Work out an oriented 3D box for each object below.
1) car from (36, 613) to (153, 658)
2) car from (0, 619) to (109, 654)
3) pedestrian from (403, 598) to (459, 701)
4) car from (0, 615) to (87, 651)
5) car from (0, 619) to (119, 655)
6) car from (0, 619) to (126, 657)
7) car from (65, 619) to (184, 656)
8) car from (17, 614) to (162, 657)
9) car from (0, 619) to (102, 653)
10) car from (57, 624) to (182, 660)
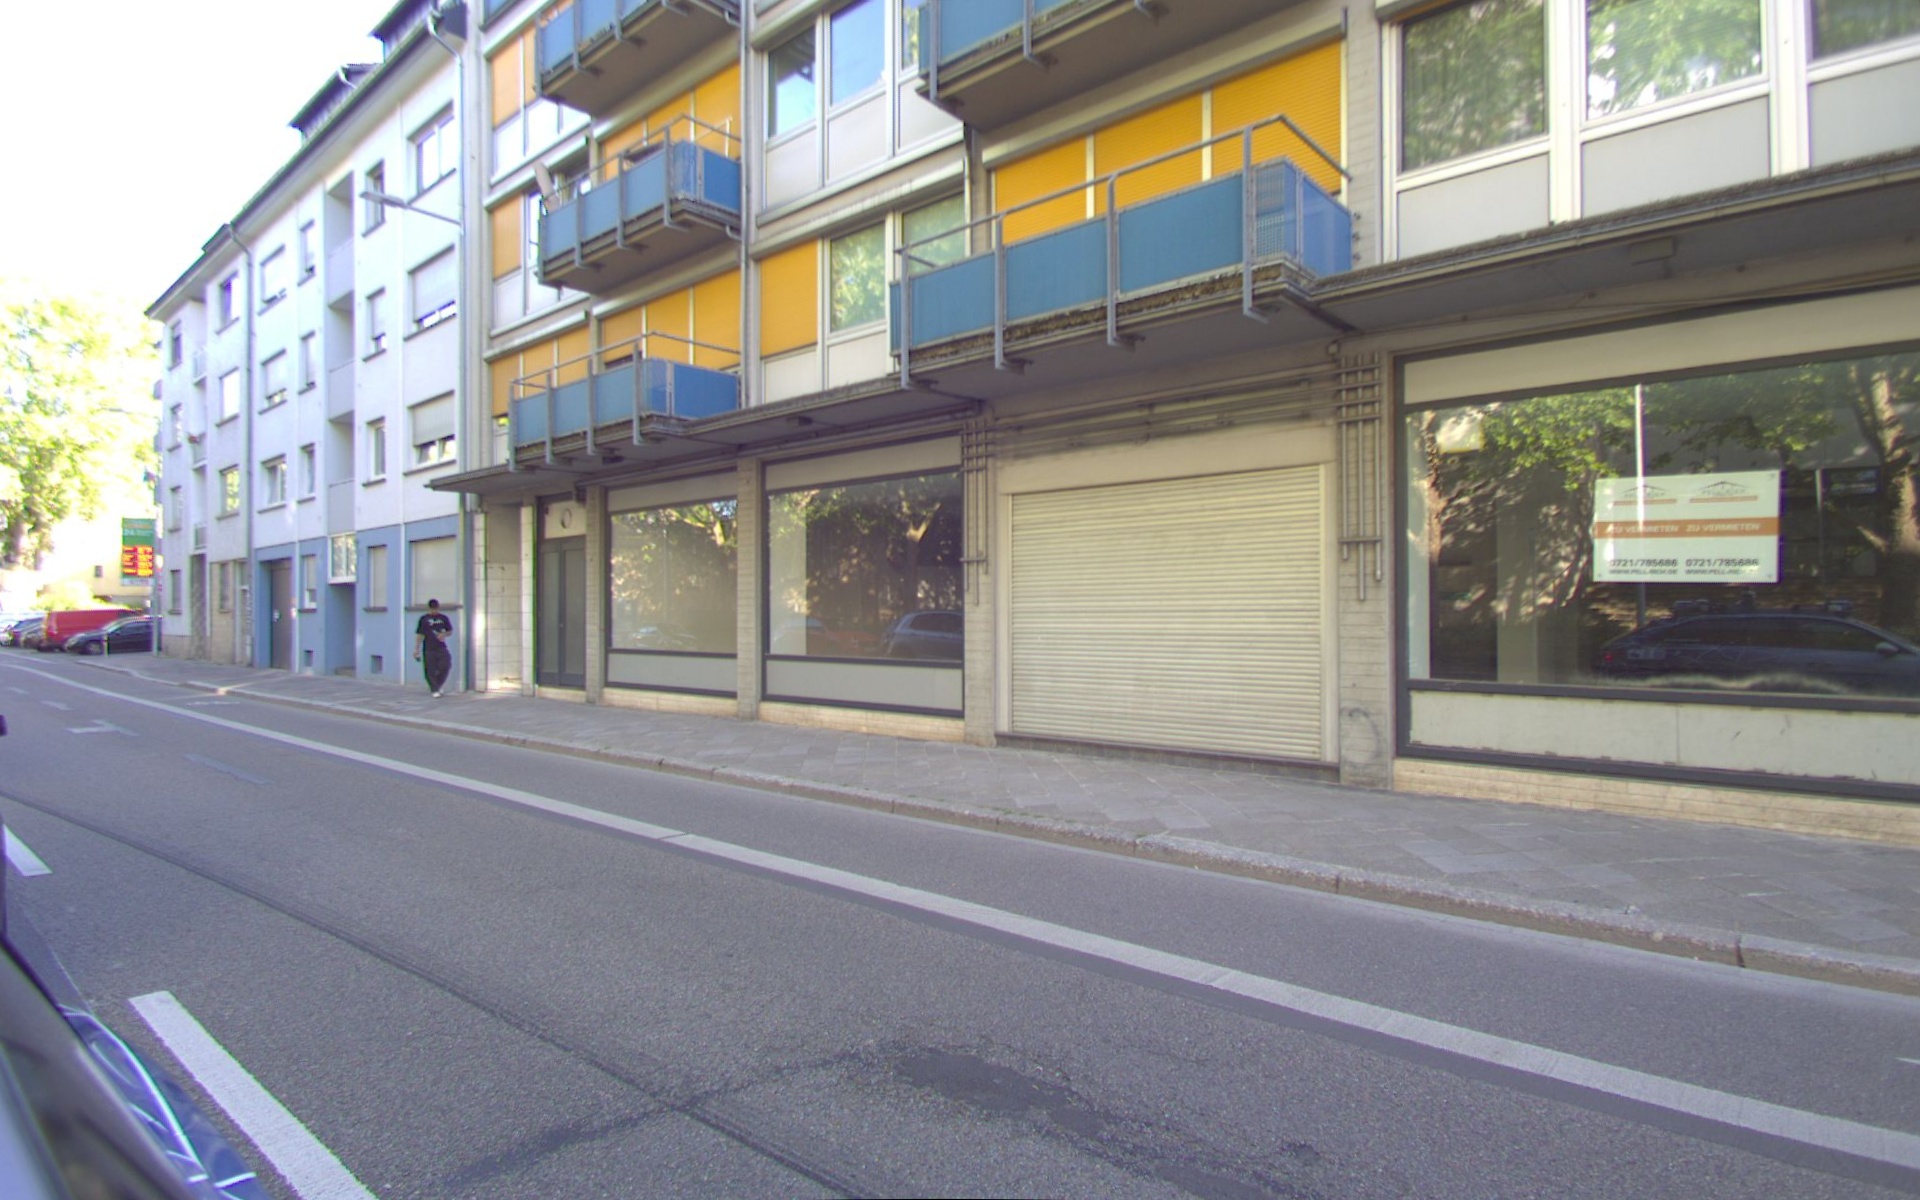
[{"bbox_3d":[-40.581,1.632,47.510,1.866,1.952,3.946,-1,-1,41],"label":"car"},{"bbox_3d":[-54.114,2.129,60.348,2.082,1.952,4.928,-1,-1,41],"label":"car"},{"bbox_3d":[-9.451,0.871,18.066,0.793,1.785,0.654,-2,-1,43],"label":"pedestrian"},{"bbox_3d":[-59.336,2.096,64.706,2.186,2.164,5.077,-1,-1,41],"label":"car"},{"bbox_3d":[-52.228,2.108,58.712,2.159,1.952,4.990,-1,-1,41],"label":"car"},{"bbox_3d":[-50.289,2.085,56.824,2.186,1.952,5.077,-1,-1,41],"label":"car"},{"bbox_3d":[-37.868,1.676,45.936,1.742,1.572,3.946,-1,-1,41],"label":"car"},{"bbox_3d":[-42.682,1.699,49.708,2.256,1.995,5.156,-1,-1,41],"label":"car"},{"bbox_3d":[-55.962,2.157,61.980,2.314,1.952,4.978,-1,-1,41],"label":"car"},{"bbox_3d":[-36.544,1.786,44.071,1.742,1.431,3.946,-1,-1,41],"label":"car"}]
